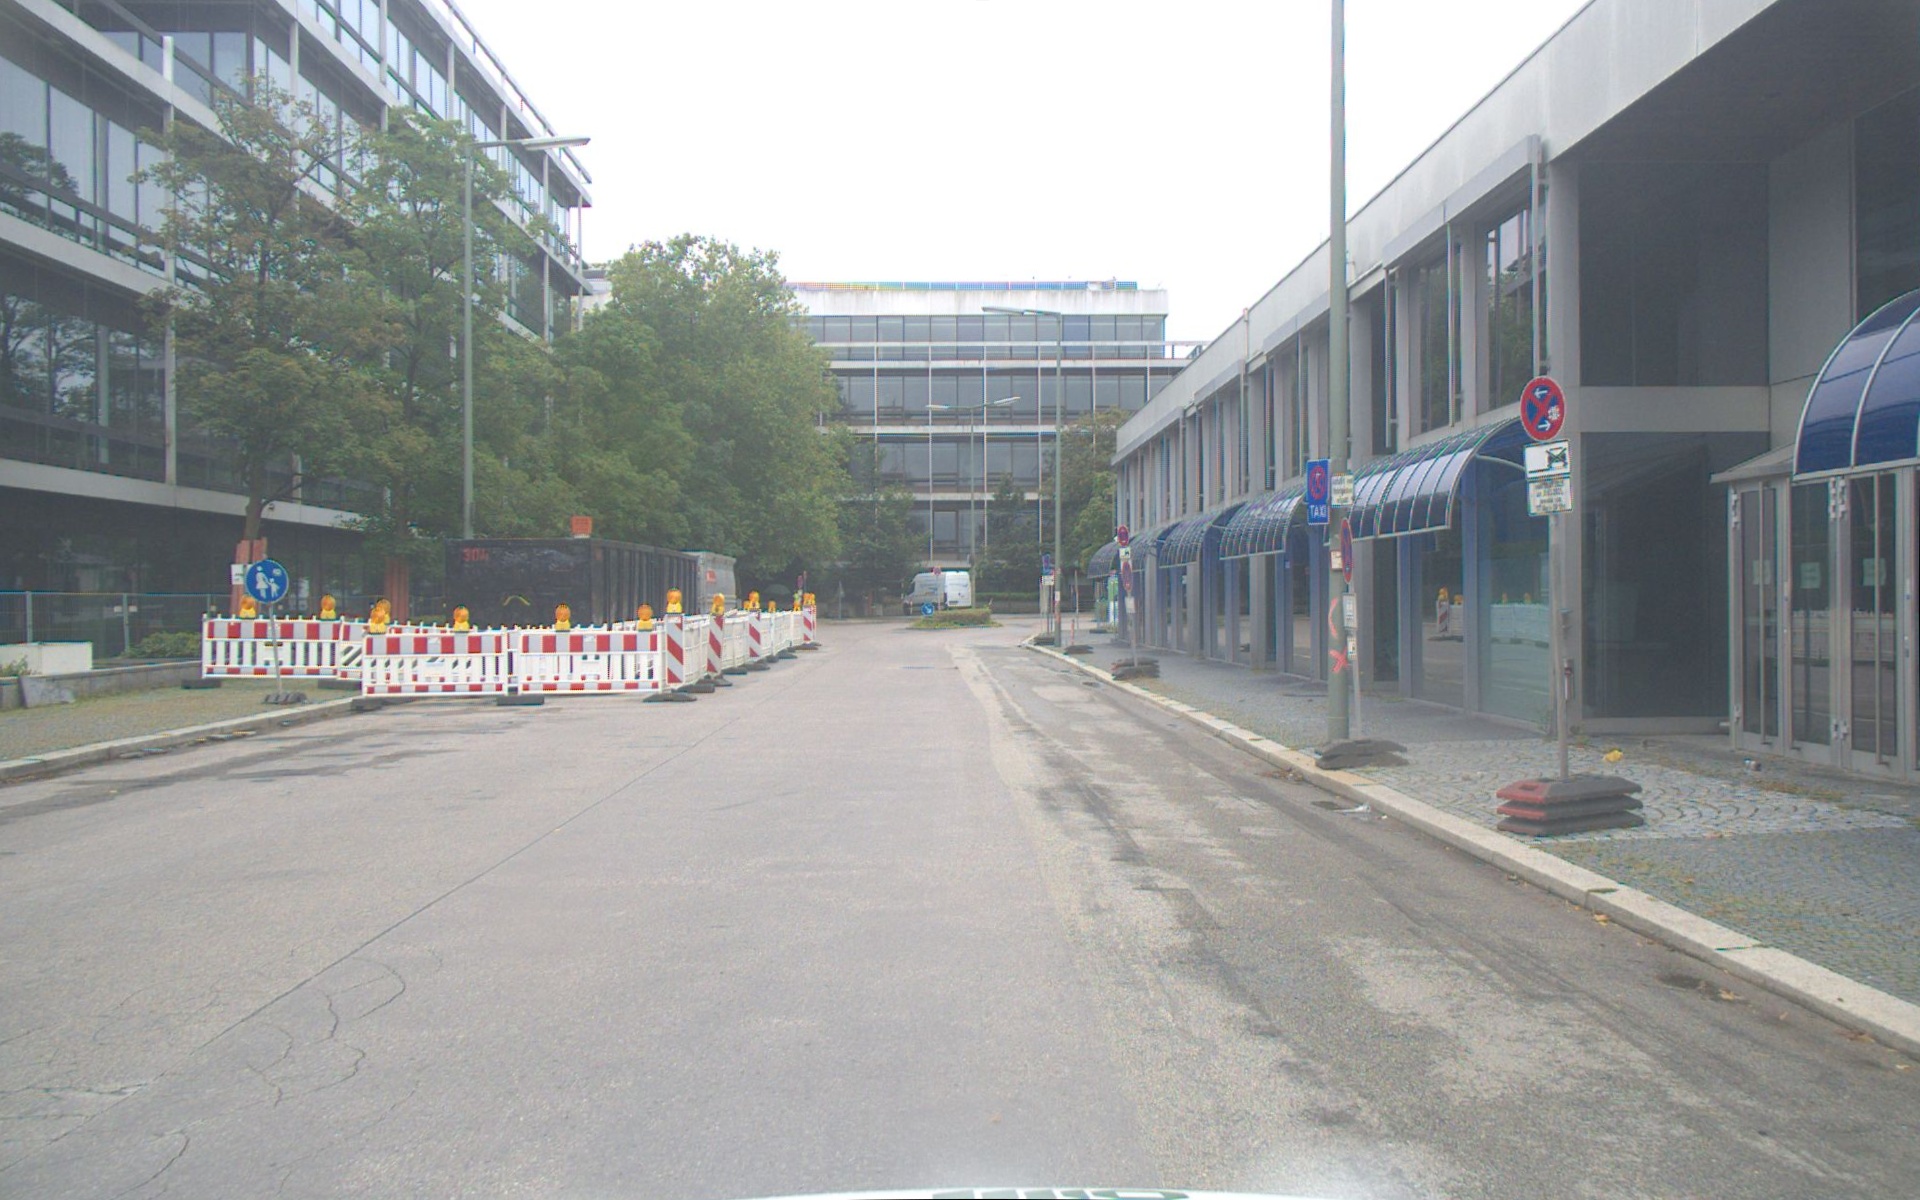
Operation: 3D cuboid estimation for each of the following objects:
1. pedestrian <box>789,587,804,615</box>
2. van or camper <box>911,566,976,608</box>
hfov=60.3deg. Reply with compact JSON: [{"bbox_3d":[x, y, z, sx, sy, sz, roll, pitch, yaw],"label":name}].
[{"bbox_3d":[-9.995,0.084,101.072,0.730,1.706,0.678,0,0,-21],"label":"pedestrian"},{"bbox_3d":[-1.059,-0.785,102.599,2.060,2.535,5.024,0,0,-26],"label":"van or camper"}]
